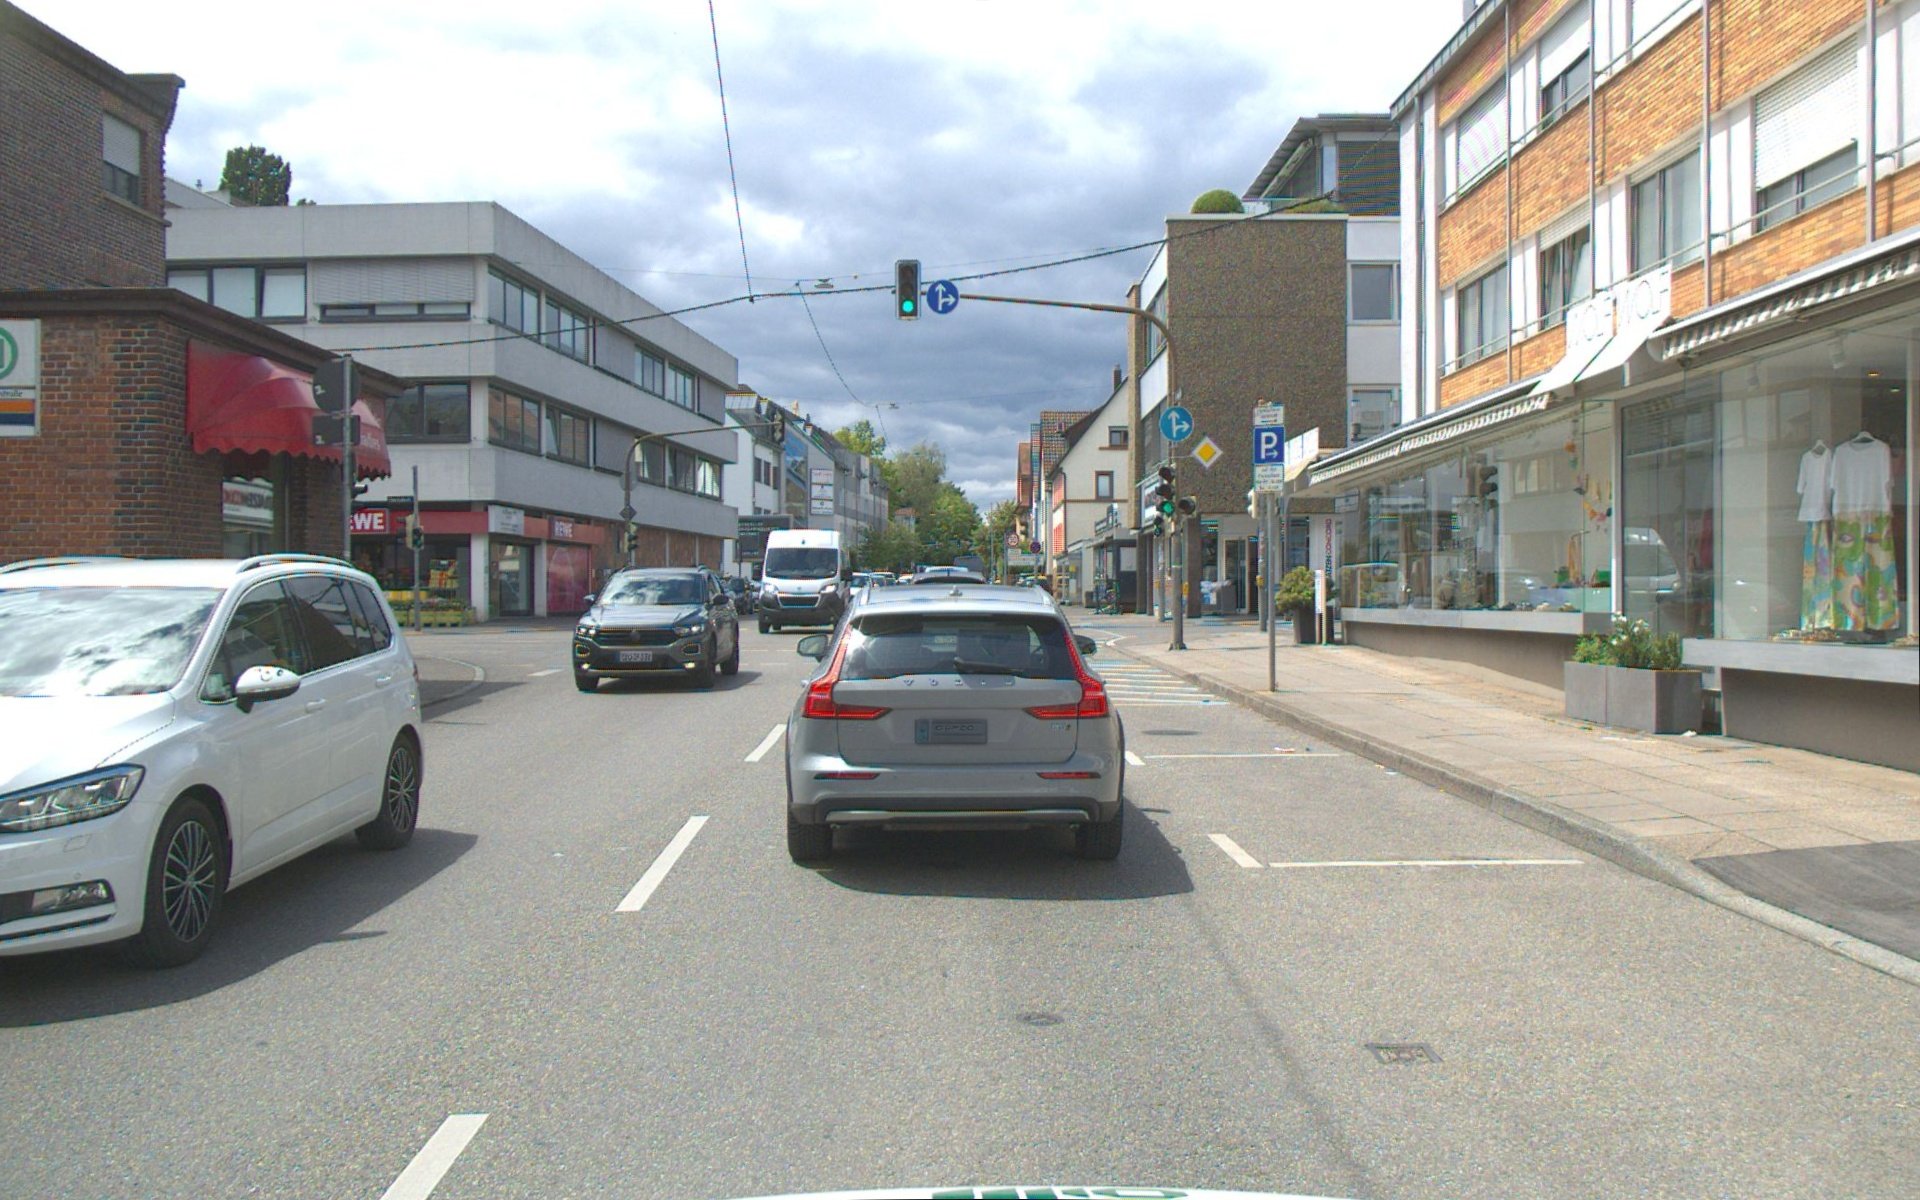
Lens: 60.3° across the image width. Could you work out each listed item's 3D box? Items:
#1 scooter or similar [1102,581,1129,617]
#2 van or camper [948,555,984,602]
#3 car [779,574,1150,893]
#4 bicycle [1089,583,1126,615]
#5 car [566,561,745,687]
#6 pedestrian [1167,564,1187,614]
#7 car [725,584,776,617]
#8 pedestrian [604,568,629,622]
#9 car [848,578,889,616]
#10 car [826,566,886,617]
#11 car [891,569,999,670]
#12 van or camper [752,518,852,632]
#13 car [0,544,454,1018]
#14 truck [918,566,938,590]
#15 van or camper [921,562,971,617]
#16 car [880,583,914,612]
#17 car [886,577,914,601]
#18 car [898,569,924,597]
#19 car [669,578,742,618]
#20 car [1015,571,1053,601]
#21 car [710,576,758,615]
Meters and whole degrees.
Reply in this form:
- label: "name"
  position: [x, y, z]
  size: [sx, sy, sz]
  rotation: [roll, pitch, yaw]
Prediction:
- label: "scooter or similar"
  position: [5.617, -0.030, 59.914]
  size: [0.336, 1.275, 1.235]
  rotation: [-3, 0, -26]
- label: "van or camper"
  position: [0.353, -1.324, 99.655]
  size: [2.079, 2.733, 4.781]
  rotation: [-1, 1, 1]
- label: "car"
  position: [0.001, 0.616, 10.036]
  size: [1.798, 1.512, 4.000]
  rotation: [0, 1, -1]
- label: "bicycle"
  position: [5.576, -0.042, 62.836]
  size: [0.546, 1.164, 2.288]
  rotation: [-1, 1, -18]
- label: "car"
  position: [-4.037, 0.299, 22.471]
  size: [1.754, 1.537, 3.844]
  rotation: [-1, 0, -1]
- label: "pedestrian"
  position: [6.655, -0.338, 50.793]
  size: [0.493, 1.484, 0.500]
  rotation: [-3, 0, 13]
- label: "car"
  position: [-9.632, 0.007, 76.294]
  size: [1.719, 1.451, 3.863]
  rotation: [-1, 0, 2]
- label: "pedestrian"
  position: [-10.676, -0.153, 51.373]
  size: [0.606, 1.670, 0.660]
  rotation: [-1, 0, 1]
- label: "car"
  position: [-4.066, -0.132, 74.081]
  size: [1.753, 1.617, 4.099]
  rotation: [-1, 0, -2]
- label: "car"
  position: [-3.625, -0.303, 58.116]
  size: [1.744, 1.668, 4.221]
  rotation: [-2, 1, 1]
- label: "car"
  position: [-0.242, 0.291, 26.546]
  size: [1.617, 1.508, 3.607]
  rotation: [0, 0, -1]
- label: "van or camper"
  position: [-3.833, -0.654, 41.127]
  size: [2.105, 2.600, 5.436]
  rotation: [-1, 1, -2]
- label: "car"
  position: [-3.895, 0.604, 7.799]
  size: [1.739, 1.641, 4.120]
  rotation: [-2, 1, -1]
- label: "truck"
  position: [-3.873, -2.710, 203.497]
  size: [2.229, 2.937, 7.080]
  rotation: [-1, 1, 1]
- label: "van or camper"
  position: [-0.518, -0.344, 60.482]
  size: [1.782, 1.867, 3.999]
  rotation: [0, -1, -1]
- label: "car"
  position: [-3.393, -0.119, 89.232]
  size: [1.648, 1.523, 3.967]
  rotation: [-1, 0, 0]
- label: "car"
  position: [-3.985, -0.755, 109.700]
  size: [1.634, 1.581, 4.215]
  rotation: [0, 1, 1]
- label: "car"
  position: [-3.591, -1.237, 120.845]
  size: [1.800, 1.951, 4.155]
  rotation: [0, 0, -1]
- label: "car"
  position: [-9.838, -0.119, 64.193]
  size: [1.864, 1.468, 4.445]
  rotation: [1, 1, 4]
- label: "car"
  position: [3.917, -0.709, 87.611]
  size: [1.676, 1.490, 3.998]
  rotation: [0, -1, -2]
- label: "car"
  position: [-9.565, -0.223, 70.094]
  size: [1.574, 1.570, 2.944]
  rotation: [1, 1, 0]
